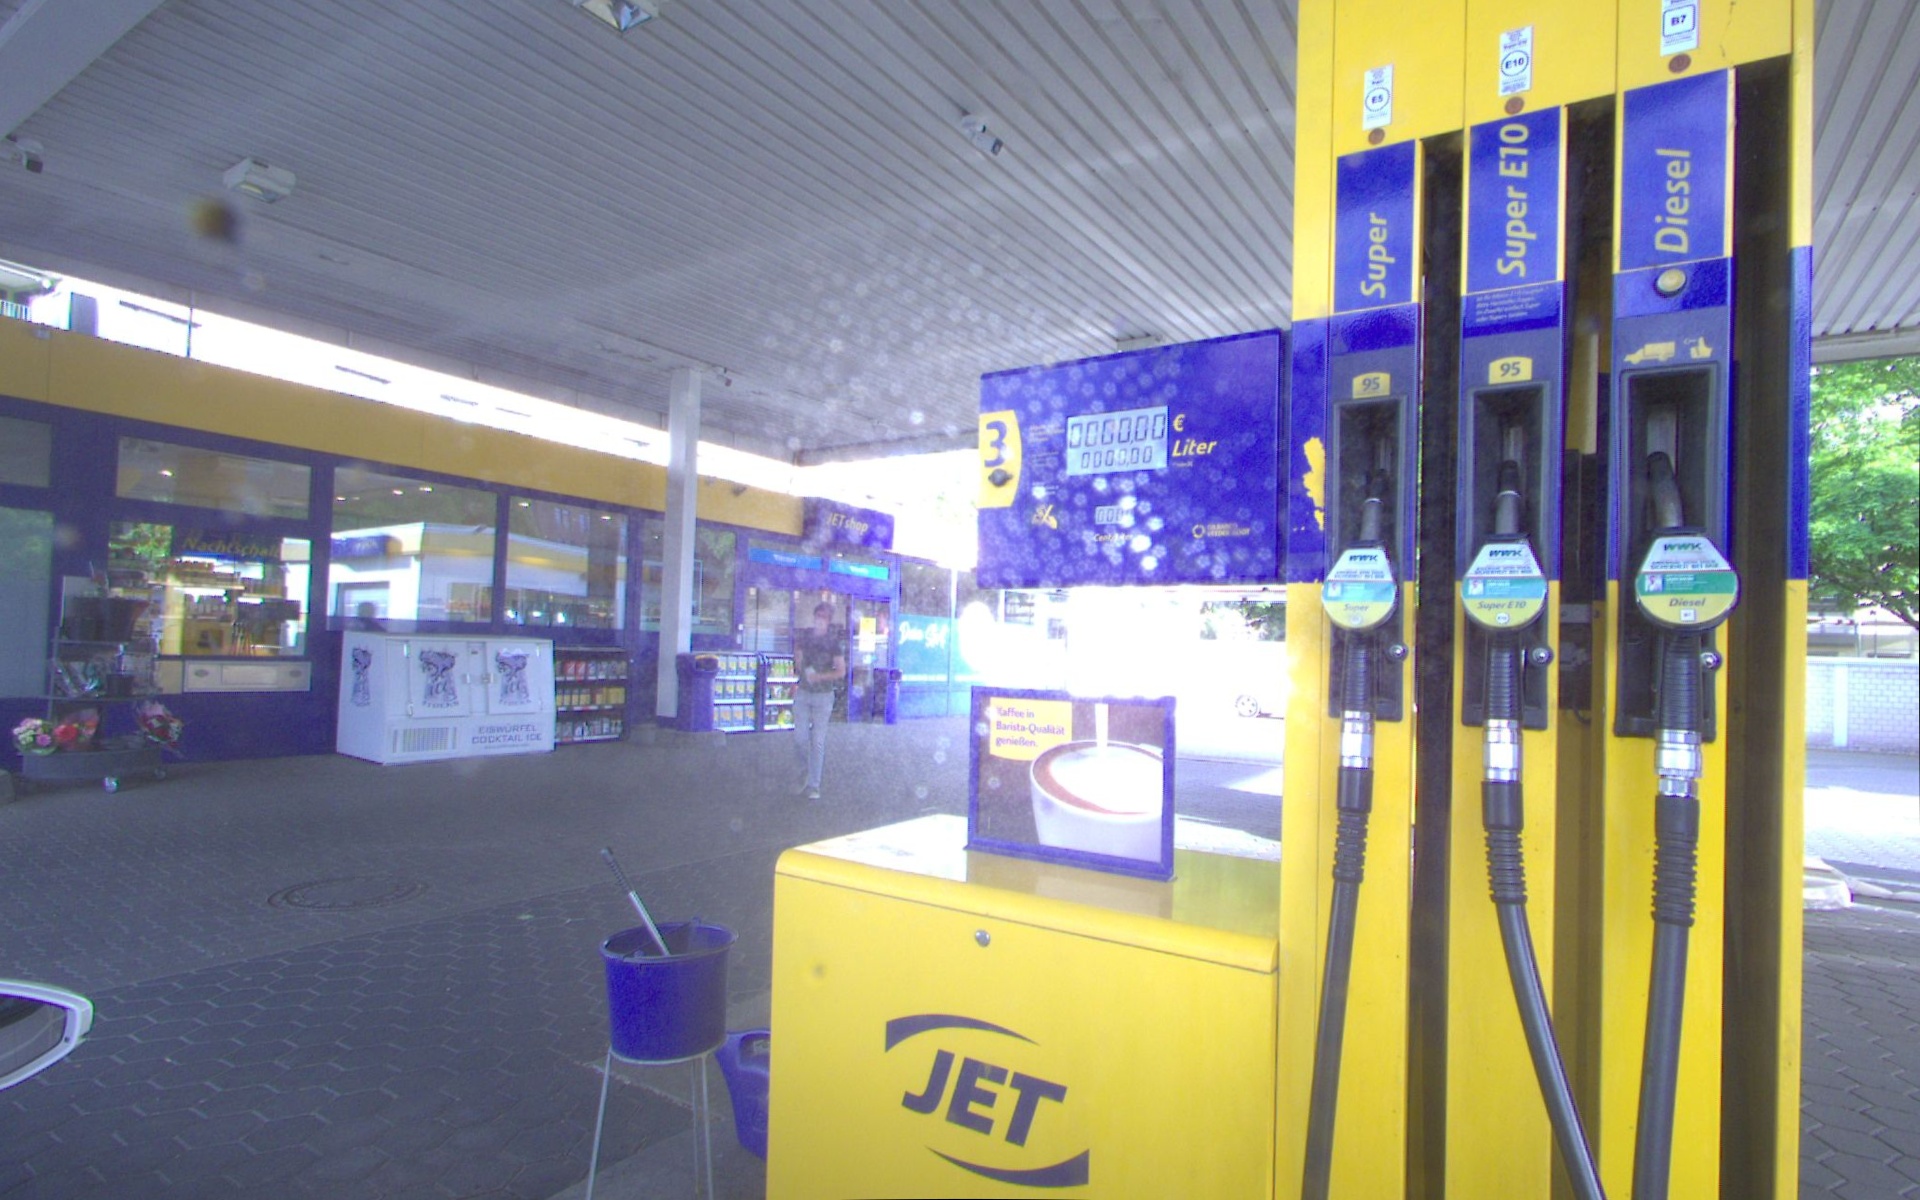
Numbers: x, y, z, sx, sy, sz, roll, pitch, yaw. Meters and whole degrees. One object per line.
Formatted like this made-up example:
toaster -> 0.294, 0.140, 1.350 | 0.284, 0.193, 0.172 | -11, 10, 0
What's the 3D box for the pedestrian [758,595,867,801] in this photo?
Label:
pedestrian -> -1.391, 0.911, 9.602 | 0.788, 1.838, 0.985 | 3, -2, 2
